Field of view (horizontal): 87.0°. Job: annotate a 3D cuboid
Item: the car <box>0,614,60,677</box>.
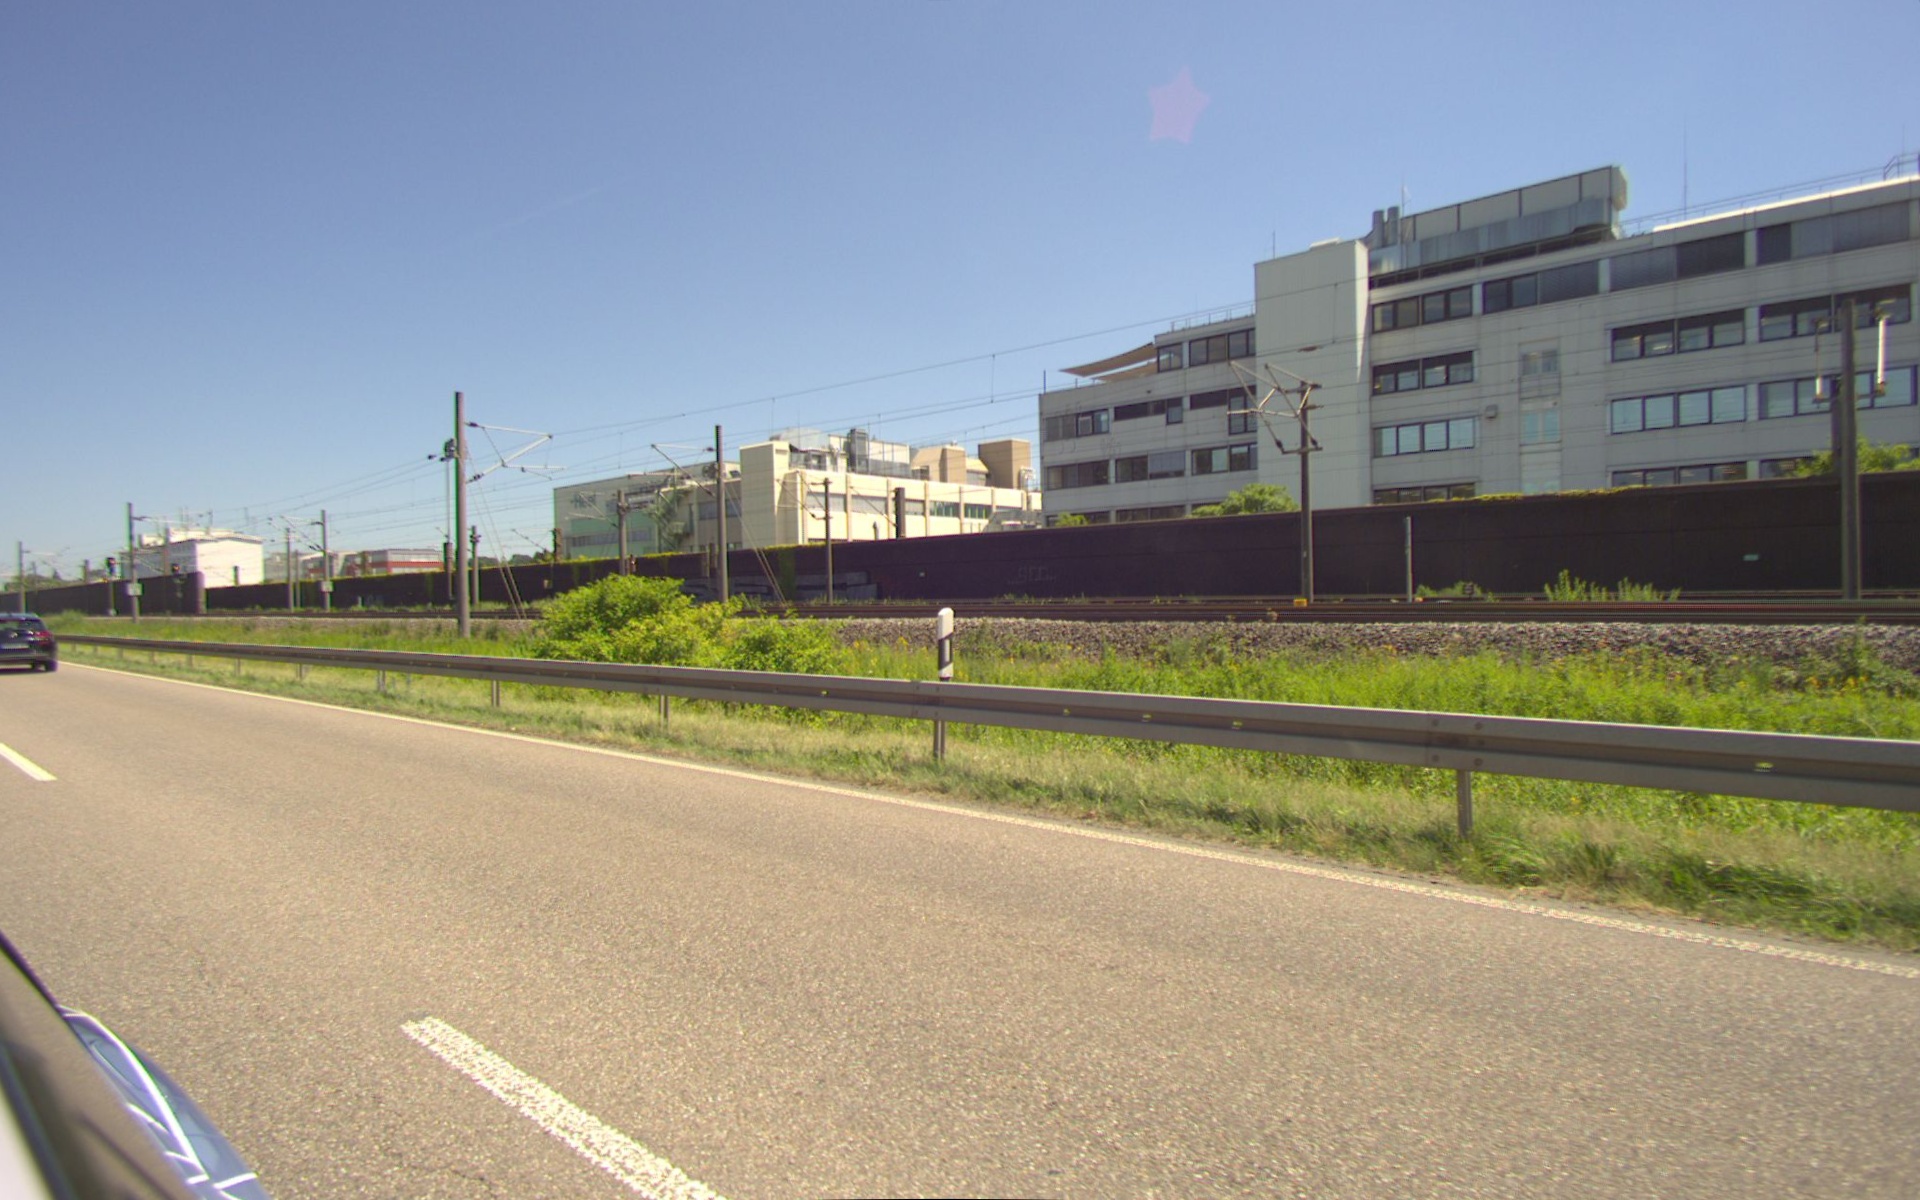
[{"bbox_3d":[-24.158,1.115,25.457,3.998,1.475,1.780,-1,0,41],"label":"car"}]
